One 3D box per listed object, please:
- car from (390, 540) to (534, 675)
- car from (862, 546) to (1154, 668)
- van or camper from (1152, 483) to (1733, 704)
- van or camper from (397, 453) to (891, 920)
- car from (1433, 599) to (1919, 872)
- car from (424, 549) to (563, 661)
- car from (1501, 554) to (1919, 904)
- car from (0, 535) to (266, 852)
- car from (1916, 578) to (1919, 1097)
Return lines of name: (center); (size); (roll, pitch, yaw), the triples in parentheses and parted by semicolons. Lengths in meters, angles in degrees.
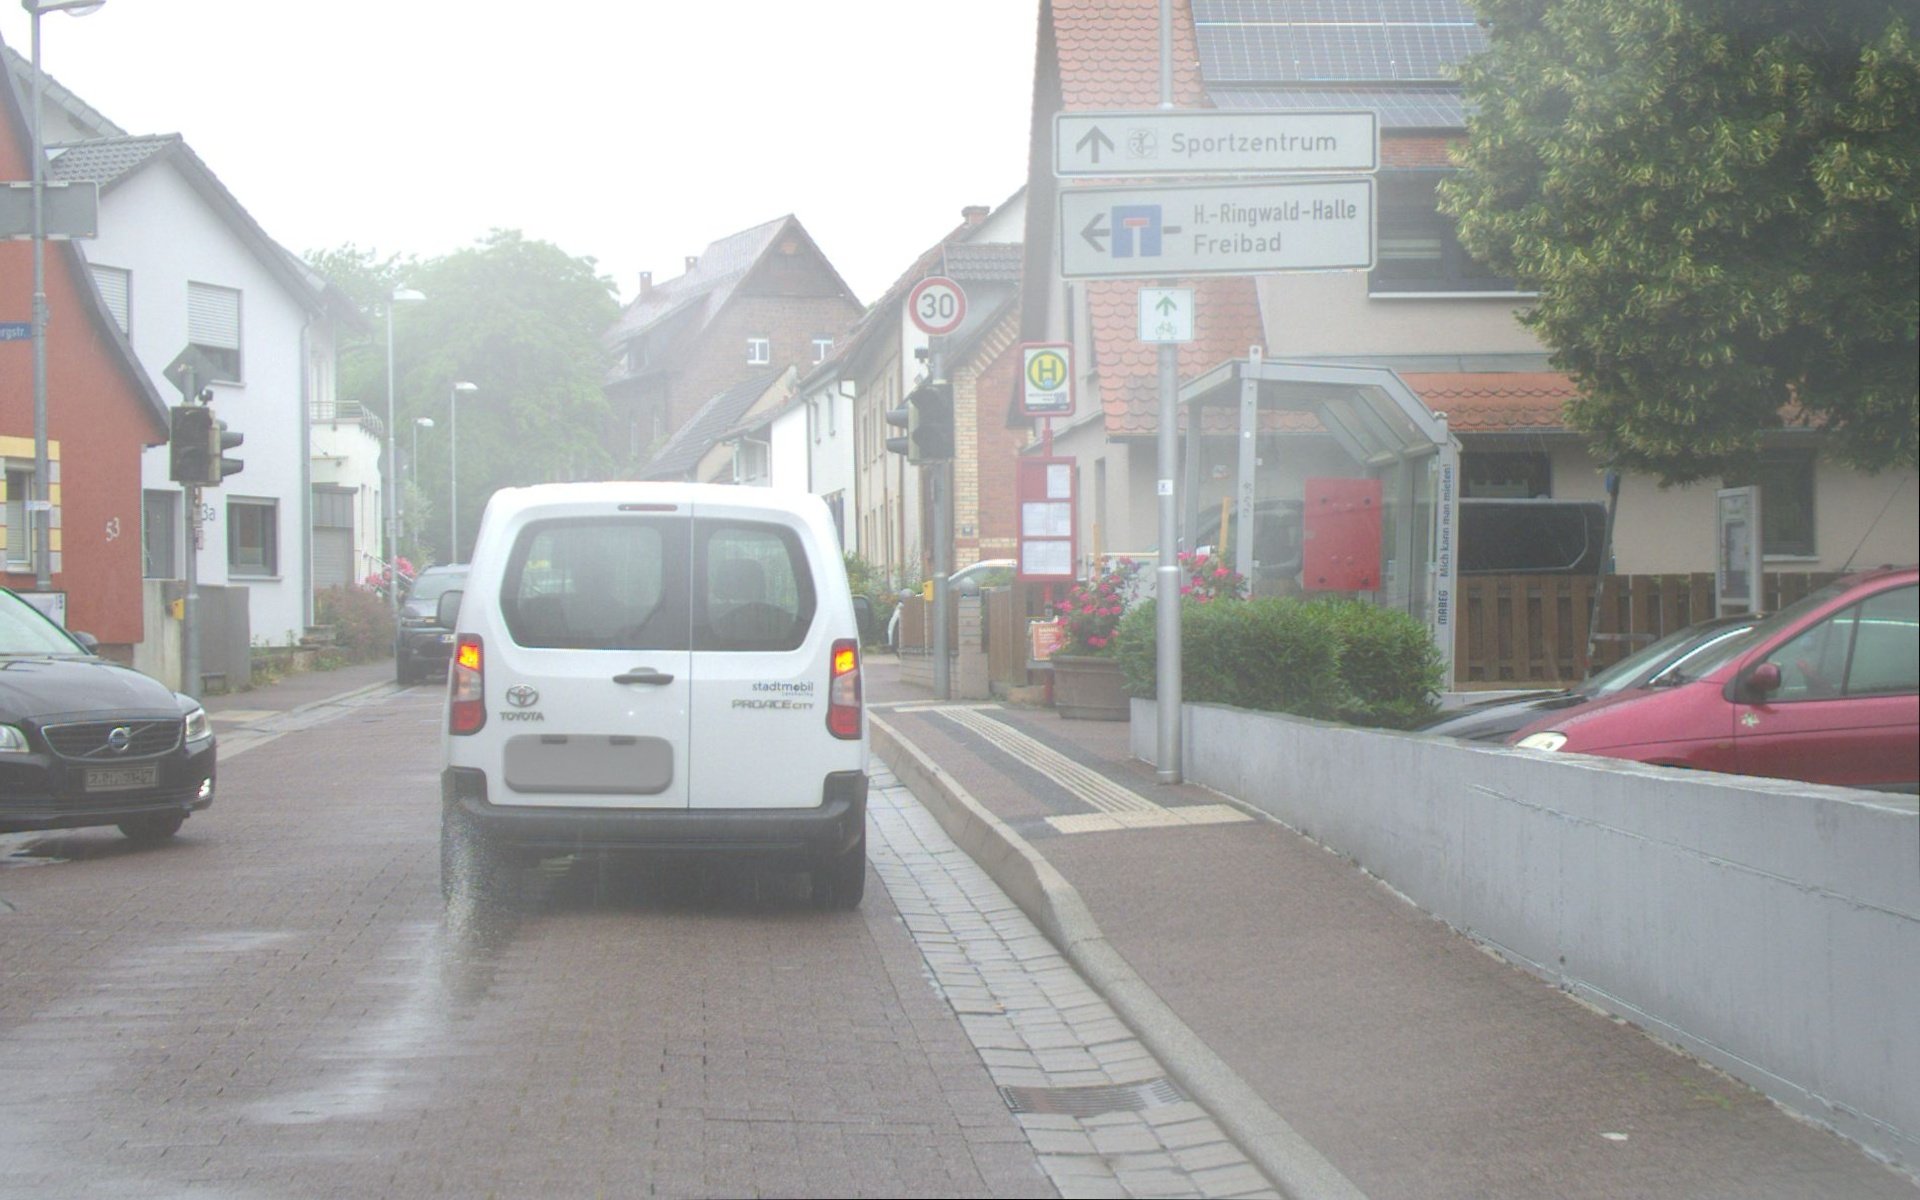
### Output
car: (-6.967, 0.071, 48.408); (1.812, 1.773, 4.018); (-1, 1, -6)
car: (0.657, 0.072, 50.890); (1.871, 1.584, 4.619); (0, 2, -37)
van or camper: (4.502, -0.061, 32.441); (5.067, 1.916, 1.876); (1, 0, -7)
van or camper: (-1.414, 0.325, 15.755); (1.943, 1.845, 4.001); (1, 1, -4)
car: (4.662, 0.707, 18.892); (3.952, 1.374, 1.751); (-1, 1, 4)
car: (-7.370, 0.087, 54.651); (1.748, 1.631, 4.419); (-3, 0, -3)
car: (4.672, 0.574, 16.474); (4.070, 1.584, 1.857); (0, 0, 10)
car: (-5.795, 0.446, 18.180); (4.310, 1.472, 1.846); (0, 2, 40)
car: (4.641, 0.673, 8.553); (4.230, 1.475, 1.694); (0, 0, 11)
